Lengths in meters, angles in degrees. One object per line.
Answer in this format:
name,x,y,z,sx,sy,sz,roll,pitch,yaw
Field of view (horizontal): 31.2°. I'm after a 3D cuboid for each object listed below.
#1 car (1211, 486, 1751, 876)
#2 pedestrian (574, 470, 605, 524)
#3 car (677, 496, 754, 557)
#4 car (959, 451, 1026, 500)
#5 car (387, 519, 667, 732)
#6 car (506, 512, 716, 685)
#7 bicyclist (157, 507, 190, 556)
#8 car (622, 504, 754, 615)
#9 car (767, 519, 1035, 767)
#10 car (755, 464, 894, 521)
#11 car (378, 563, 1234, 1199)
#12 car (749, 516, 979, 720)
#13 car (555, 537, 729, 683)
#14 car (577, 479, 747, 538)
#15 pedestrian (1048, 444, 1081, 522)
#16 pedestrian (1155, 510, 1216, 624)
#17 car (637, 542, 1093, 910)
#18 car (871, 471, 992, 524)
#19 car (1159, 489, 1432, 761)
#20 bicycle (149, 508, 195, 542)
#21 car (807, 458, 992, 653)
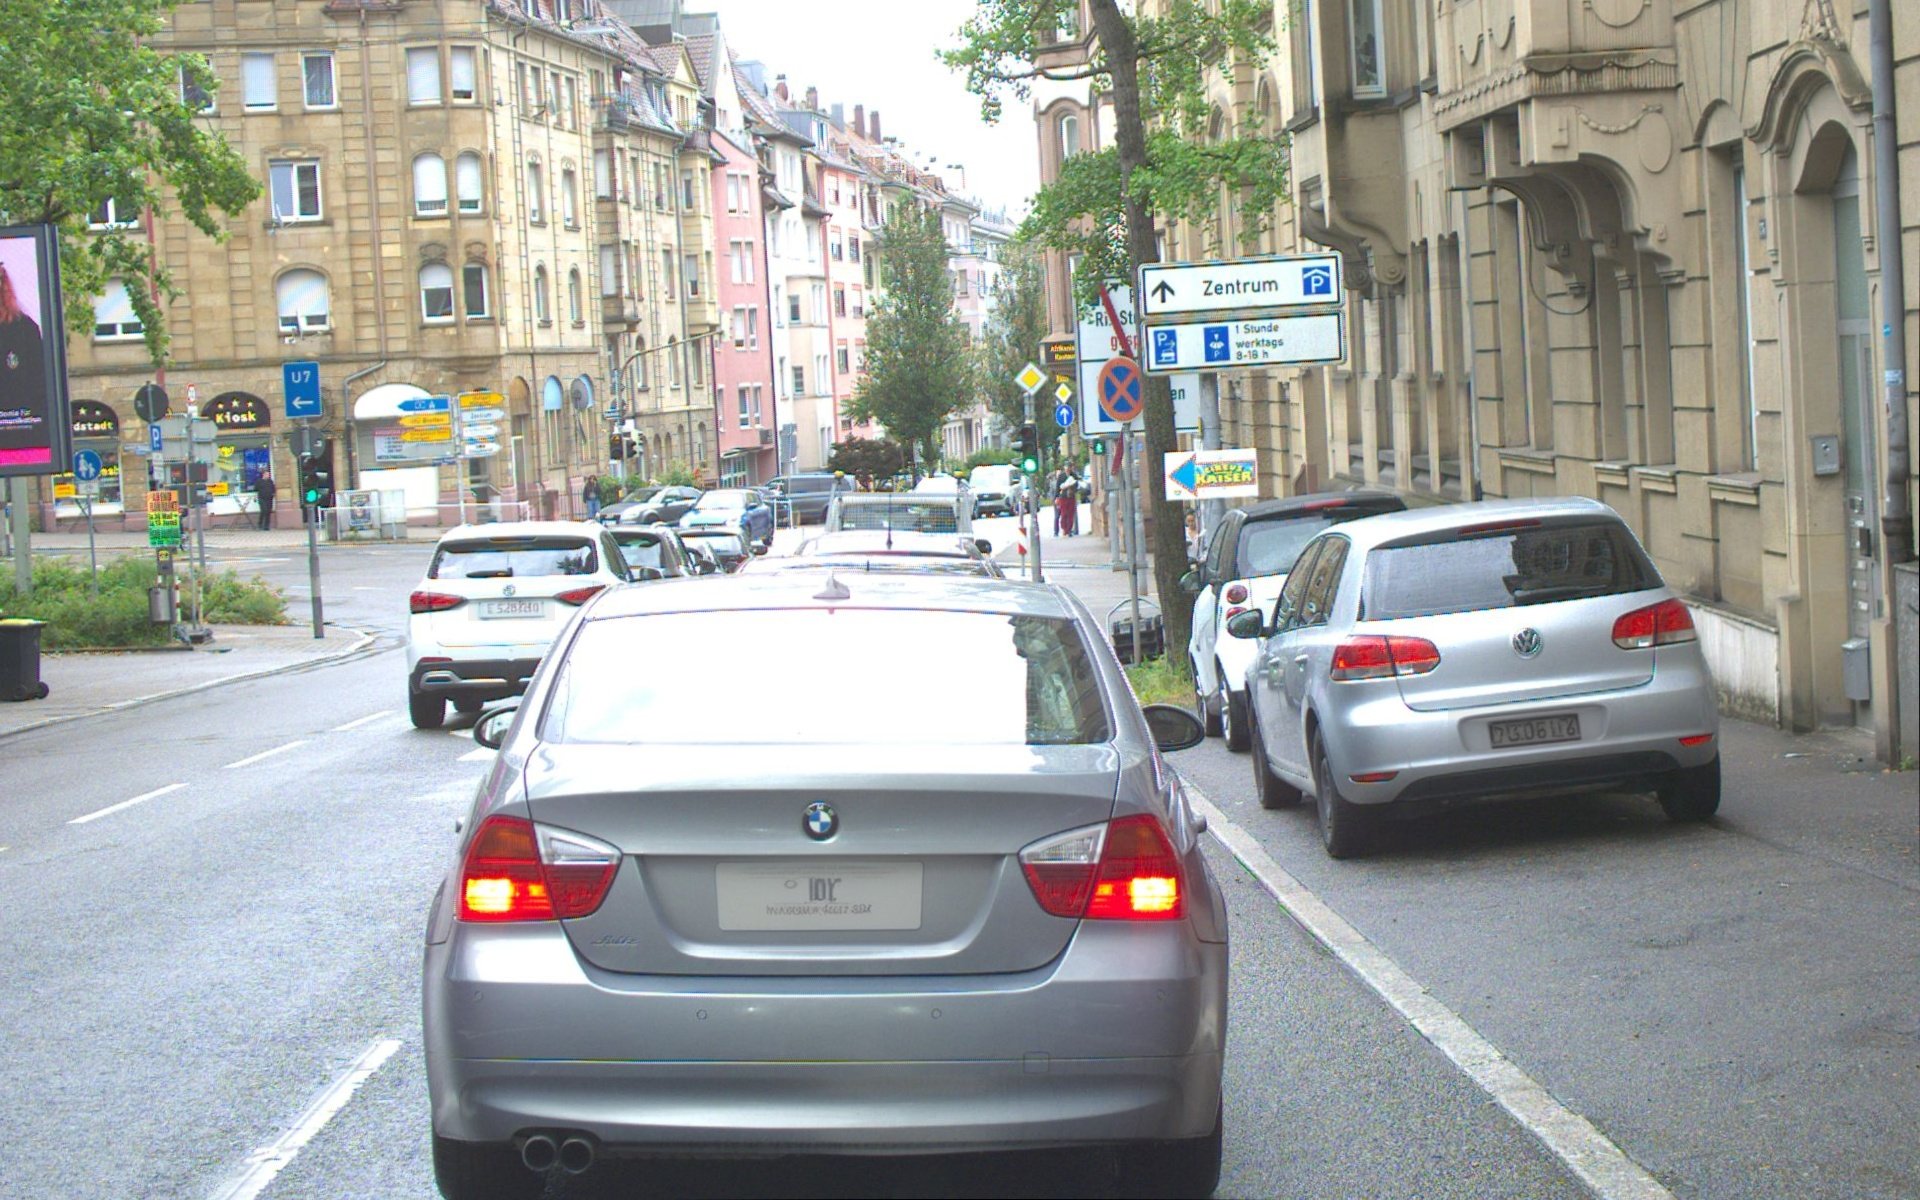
car,2.321,0.292,16.328,1.759,1.446,4.000,-6,1,-1
pedestrian,-10.889,-3.034,101.099,0.732,1.572,0.528,-2,1,8
car,-6.171,-1.870,87.010,1.715,1.445,3.743,-2,1,-1
car,1.158,-4.339,120.169,1.994,1.573,3.999,1,1,5
car,-3.518,0.151,28.589,1.868,1.620,4.000,-1,1,-1
car,-3.630,-0.064,36.355,1.759,1.702,4.000,-1,1,1
bicyclist,-20.374,-1.775,89.045,0.569,1.268,0.689,1,0,12
car,-4.365,-0.685,55.662,1.759,1.702,4.000,-1,1,1
car,-0.333,0.210,22.580,1.595,1.459,4.000,0,1,1
car,-5.087,-4.046,129.826,5.176,2.007,2.699,1,0,-1
car,-0.277,0.636,8.395,1.623,1.378,3.615,-1,1,1
car,-0.735,0.090,28.748,1.759,1.562,4.000,-1,1,1
car,-3.955,0.085,43.265,1.759,1.702,4.000,-1,1,1
car,-8.539,-2.617,98.726,4.642,1.573,1.999,0,1,-44
pedestrian,2.605,-2.920,85.720,0.742,1.903,0.659,-2,1,-1
pedestrian,3.102,-0.459,47.346,0.631,1.503,0.693,-6,1,-1
car,-0.352,0.460,15.393,1.759,1.378,4.000,-1,1,1
car,-0.895,-3.237,108.943,1.997,1.573,3.993,1,1,32
car,2.147,0.119,22.589,1.299,1.537,2.976,-6,1,-1
bicycle,-20.378,-1.937,88.919,0.574,0.855,1.521,1,1,12
car,-0.677,-0.515,39.175,1.993,2.099,4.000,0,1,-1
